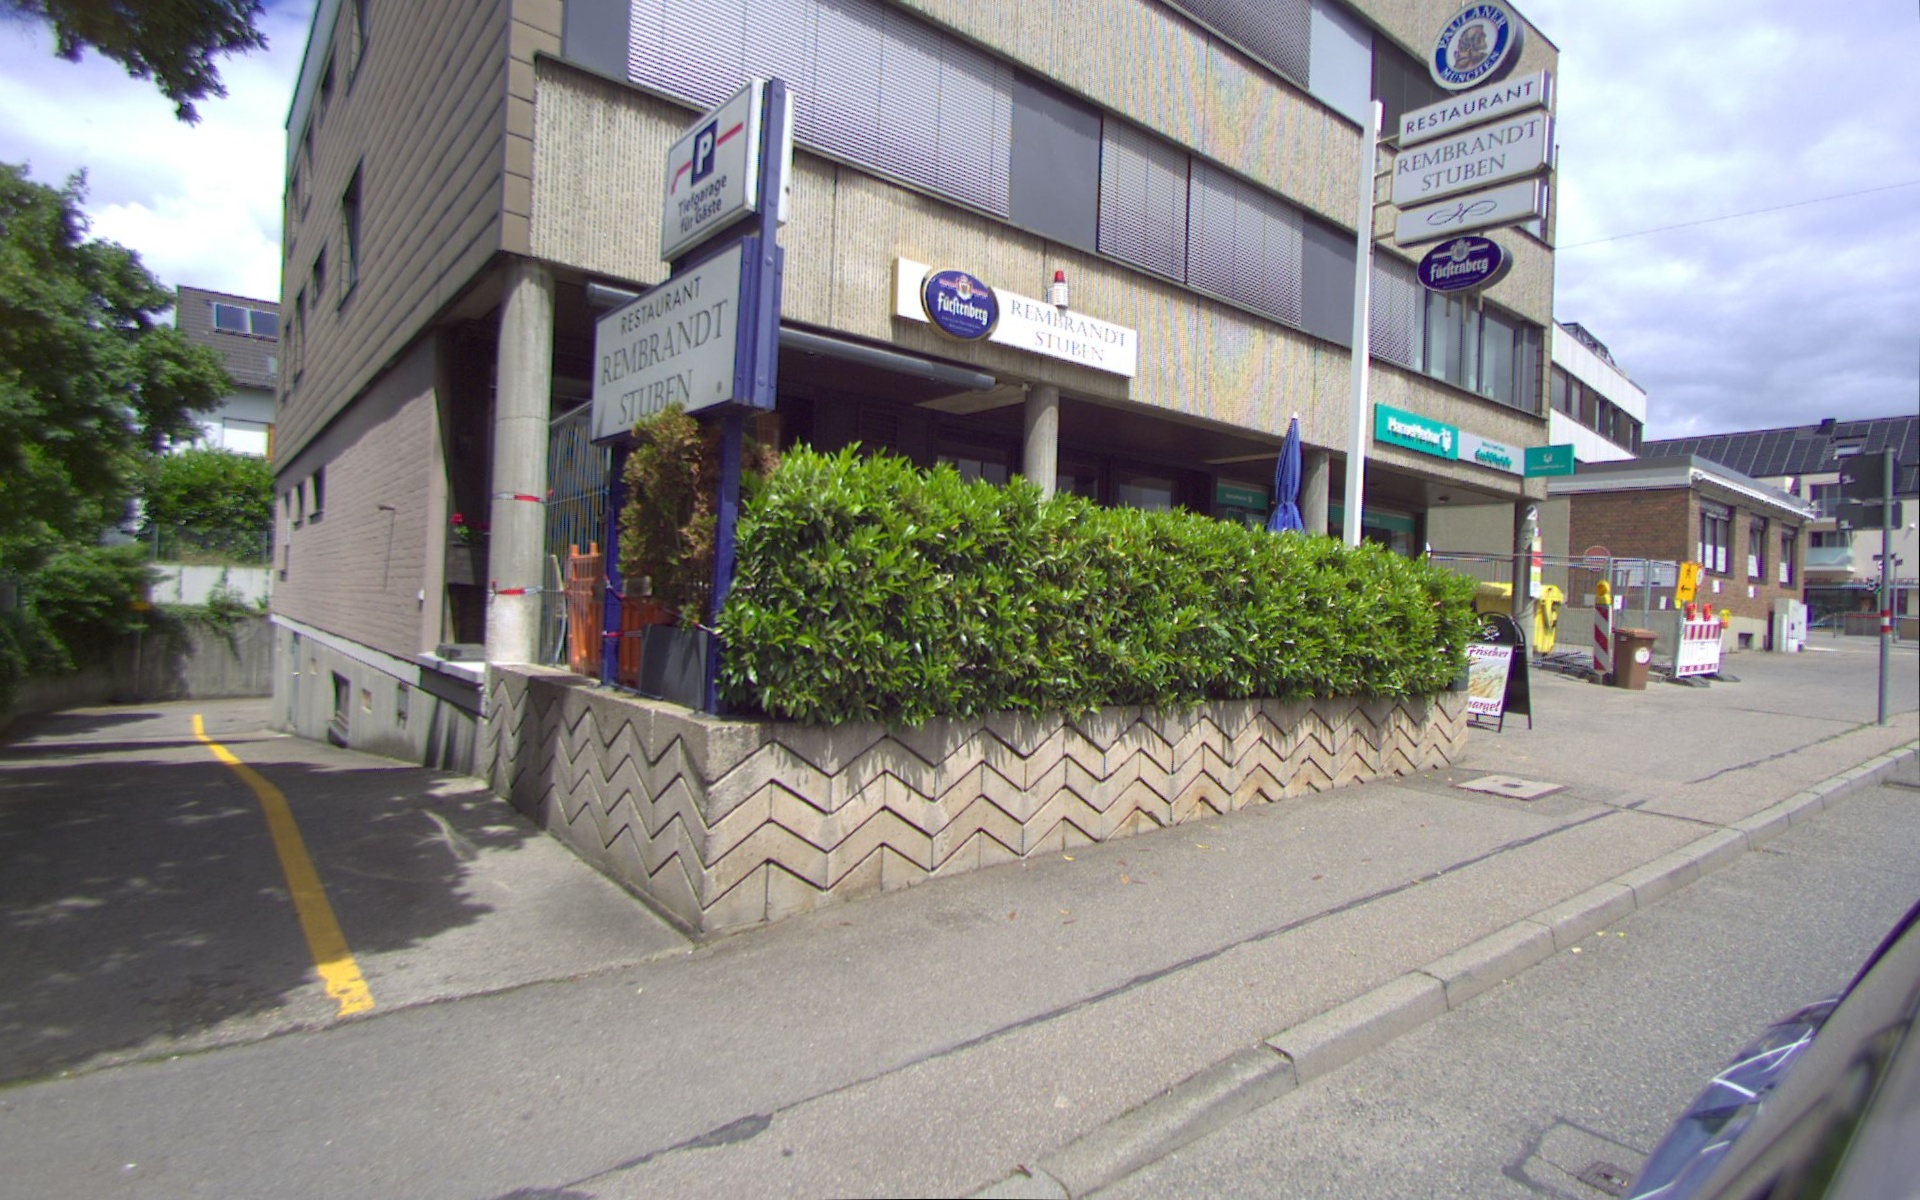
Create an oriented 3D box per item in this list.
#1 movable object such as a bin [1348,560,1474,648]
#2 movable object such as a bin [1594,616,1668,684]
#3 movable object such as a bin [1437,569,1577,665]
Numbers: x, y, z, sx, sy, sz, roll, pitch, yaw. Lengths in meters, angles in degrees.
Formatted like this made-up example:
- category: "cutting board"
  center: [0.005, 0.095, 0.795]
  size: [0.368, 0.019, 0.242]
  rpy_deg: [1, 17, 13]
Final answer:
- category: "movable object such as a bin"
  center: [9.201, 0.083, 20.704]
  size: [1.355, 1.705, 1.930]
  rpy_deg: [0, -1, -38]
- category: "movable object such as a bin"
  center: [10.397, 0.761, 15.691]
  size: [0.462, 0.925, 0.789]
  rpy_deg: [0, 5, -39]
- category: "movable object such as a bin"
  center: [10.259, 0.305, 19.027]
  size: [1.355, 1.705, 1.930]
  rpy_deg: [0, -1, -38]
